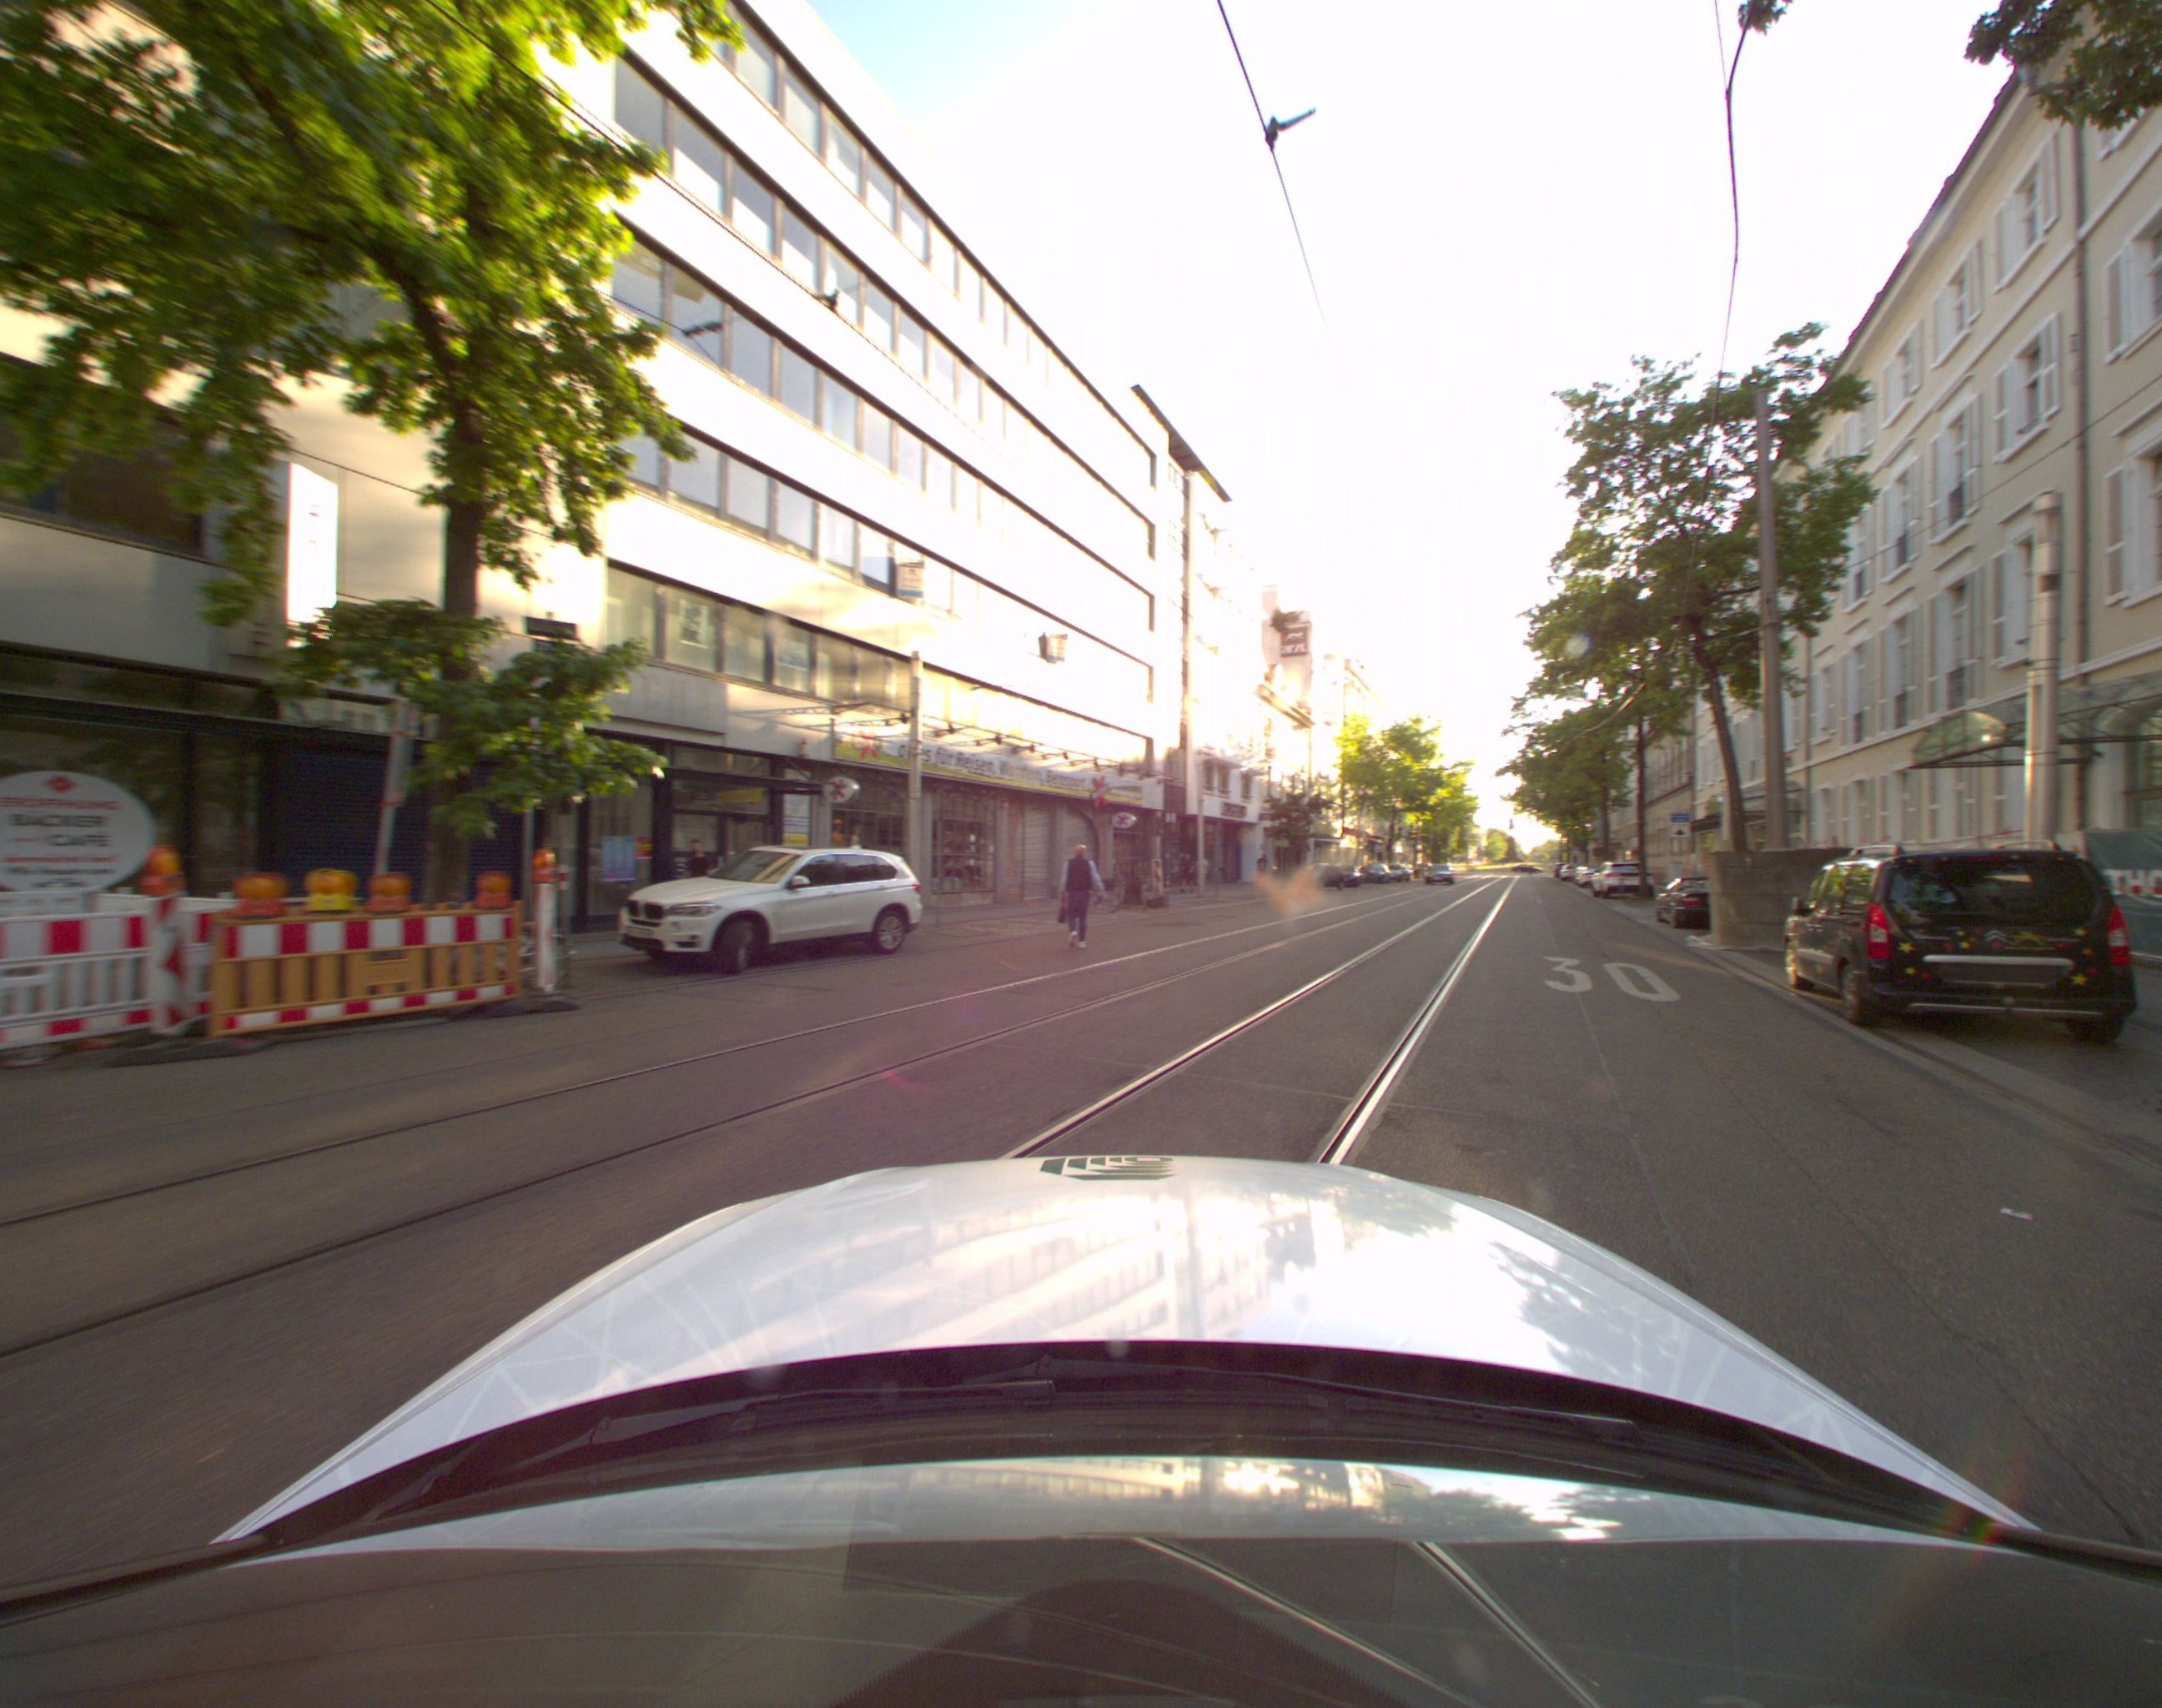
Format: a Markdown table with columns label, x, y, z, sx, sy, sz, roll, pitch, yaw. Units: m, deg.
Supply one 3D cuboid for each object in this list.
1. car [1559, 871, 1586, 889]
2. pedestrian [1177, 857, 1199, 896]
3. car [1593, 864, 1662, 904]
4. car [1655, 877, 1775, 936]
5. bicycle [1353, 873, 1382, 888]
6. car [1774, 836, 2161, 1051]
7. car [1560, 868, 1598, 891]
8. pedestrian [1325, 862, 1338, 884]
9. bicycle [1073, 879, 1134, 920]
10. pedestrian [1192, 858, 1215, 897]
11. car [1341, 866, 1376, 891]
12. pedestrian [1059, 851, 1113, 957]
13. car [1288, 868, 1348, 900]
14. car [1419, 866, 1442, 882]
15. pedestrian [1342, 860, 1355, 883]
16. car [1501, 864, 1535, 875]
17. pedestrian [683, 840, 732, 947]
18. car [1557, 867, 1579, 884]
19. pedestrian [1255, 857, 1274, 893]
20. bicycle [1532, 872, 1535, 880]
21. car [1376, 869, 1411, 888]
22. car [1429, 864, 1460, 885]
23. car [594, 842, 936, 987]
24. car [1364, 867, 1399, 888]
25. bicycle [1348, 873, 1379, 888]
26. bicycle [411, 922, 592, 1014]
| label | x | y | z | sx | sy | sz | roll | pitch | yaw |
| --- | --- | --- | --- | --- | --- | --- | --- | --- | --- |
| car | 46.214 | 2.428 | 76.669 | 1.974 | 1.498 | 4.708 | -3 | -2 | 30 |
| pedestrian | 4.795 | 1.009 | 36.428 | 0.621 | 1.713 | 0.812 | 2 | 0 | 33 |
| car | 25.111 | 1.370 | 37.597 | 1.979 | 1.688 | 4.996 | -2 | -2 | 26 |
| car | 16.201 | 1.282 | 21.027 | 1.777 | 1.311 | 4.356 | -2 | -2 | 29 |
| bicycle | 20.506 | 1.898 | 58.325 | 1.952 | 1.001 | 0.332 | 0 | -1 | 31 |
| car | 9.424 | 0.803 | 9.091 | 1.933 | 1.793 | 4.342 | -2 | -2 | 32 |
| car | 32.481 | 1.626 | 53.201 | 1.894 | 1.421 | 4.917 | -3 | -2 | 30 |
| pedestrian | 19.561 | 1.486 | 63.523 | 0.781 | 1.693 | 0.919 | 0 | -1 | 29 |
| bicycle | 0.643 | 1.278 | 23.289 | 1.728 | 0.992 | 0.481 | 4 | 2 | 37 |
| pedestrian | 5.429 | 1.041 | 36.107 | 0.635 | 1.713 | 0.834 | 2 | 0 | 33 |
| car | 17.738 | 1.529 | 51.948 | 1.776 | 1.490 | 4.265 | 2 | 0 | 23 |
| pedestrian | 0.070 | 0.840 | 14.072 | 0.849 | 1.766 | 0.830 | 1 | -1 | -5 |
| car | 13.100 | 1.616 | 44.908 | 1.615 | 1.616 | 3.730 | 3 | 1 | 44 |
| car | 40.078 | 2.296 | 93.263 | 1.819 | 1.580 | 4.141 | 4 | 1 | 30 |
| pedestrian | 20.789 | 1.352 | 63.199 | 0.836 | 1.693 | 0.745 | 0 | -1 | 28 |
| car | 69.769 | 2.439 | 129.965 | 4.629 | 1.684 | 2.012 | 0 | -1 | 32 |
| pedestrian | -7.171 | 0.740 | 15.651 | 0.608 | 2.014 | 0.596 | 0 | -1 | 28 |
| car | 55.111 | 2.397 | 92.152 | 1.919 | 1.759 | 4.708 | -4 | -3 | 29 |
| pedestrian | 9.526 | 1.103 | 42.342 | 0.653 | 1.825 | 0.884 | 3 | 1 | 30 |
| bicycle | 57.160 | 2.740 | 102.878 | 0.261 | 0.983 | 1.346 | 0 | -1 | 29 |
| car | 25.458 | 1.966 | 66.210 | 1.750 | 1.497 | 4.201 | 1 | -1 | 34 |
| car | 25.515 | 1.427 | 57.111 | 1.762 | 1.407 | 4.554 | 0 | -1 | 27 |
| car | -4.613 | 0.772 | 12.750 | 1.975 | 1.754 | 4.773 | 3 | 1 | 29 |
| car | 22.247 | 1.724 | 60.199 | 1.695 | 1.461 | 4.513 | 2 | 0 | 30 |
| bicycle | 19.584 | 1.853 | 56.443 | 1.952 | 1.001 | 0.332 | 0 | -1 | 32 |
| bicycle | -6.447 | 1.237 | 9.142 | 0.497 | 0.837 | 1.544 | 3 | 0 | 35 |
